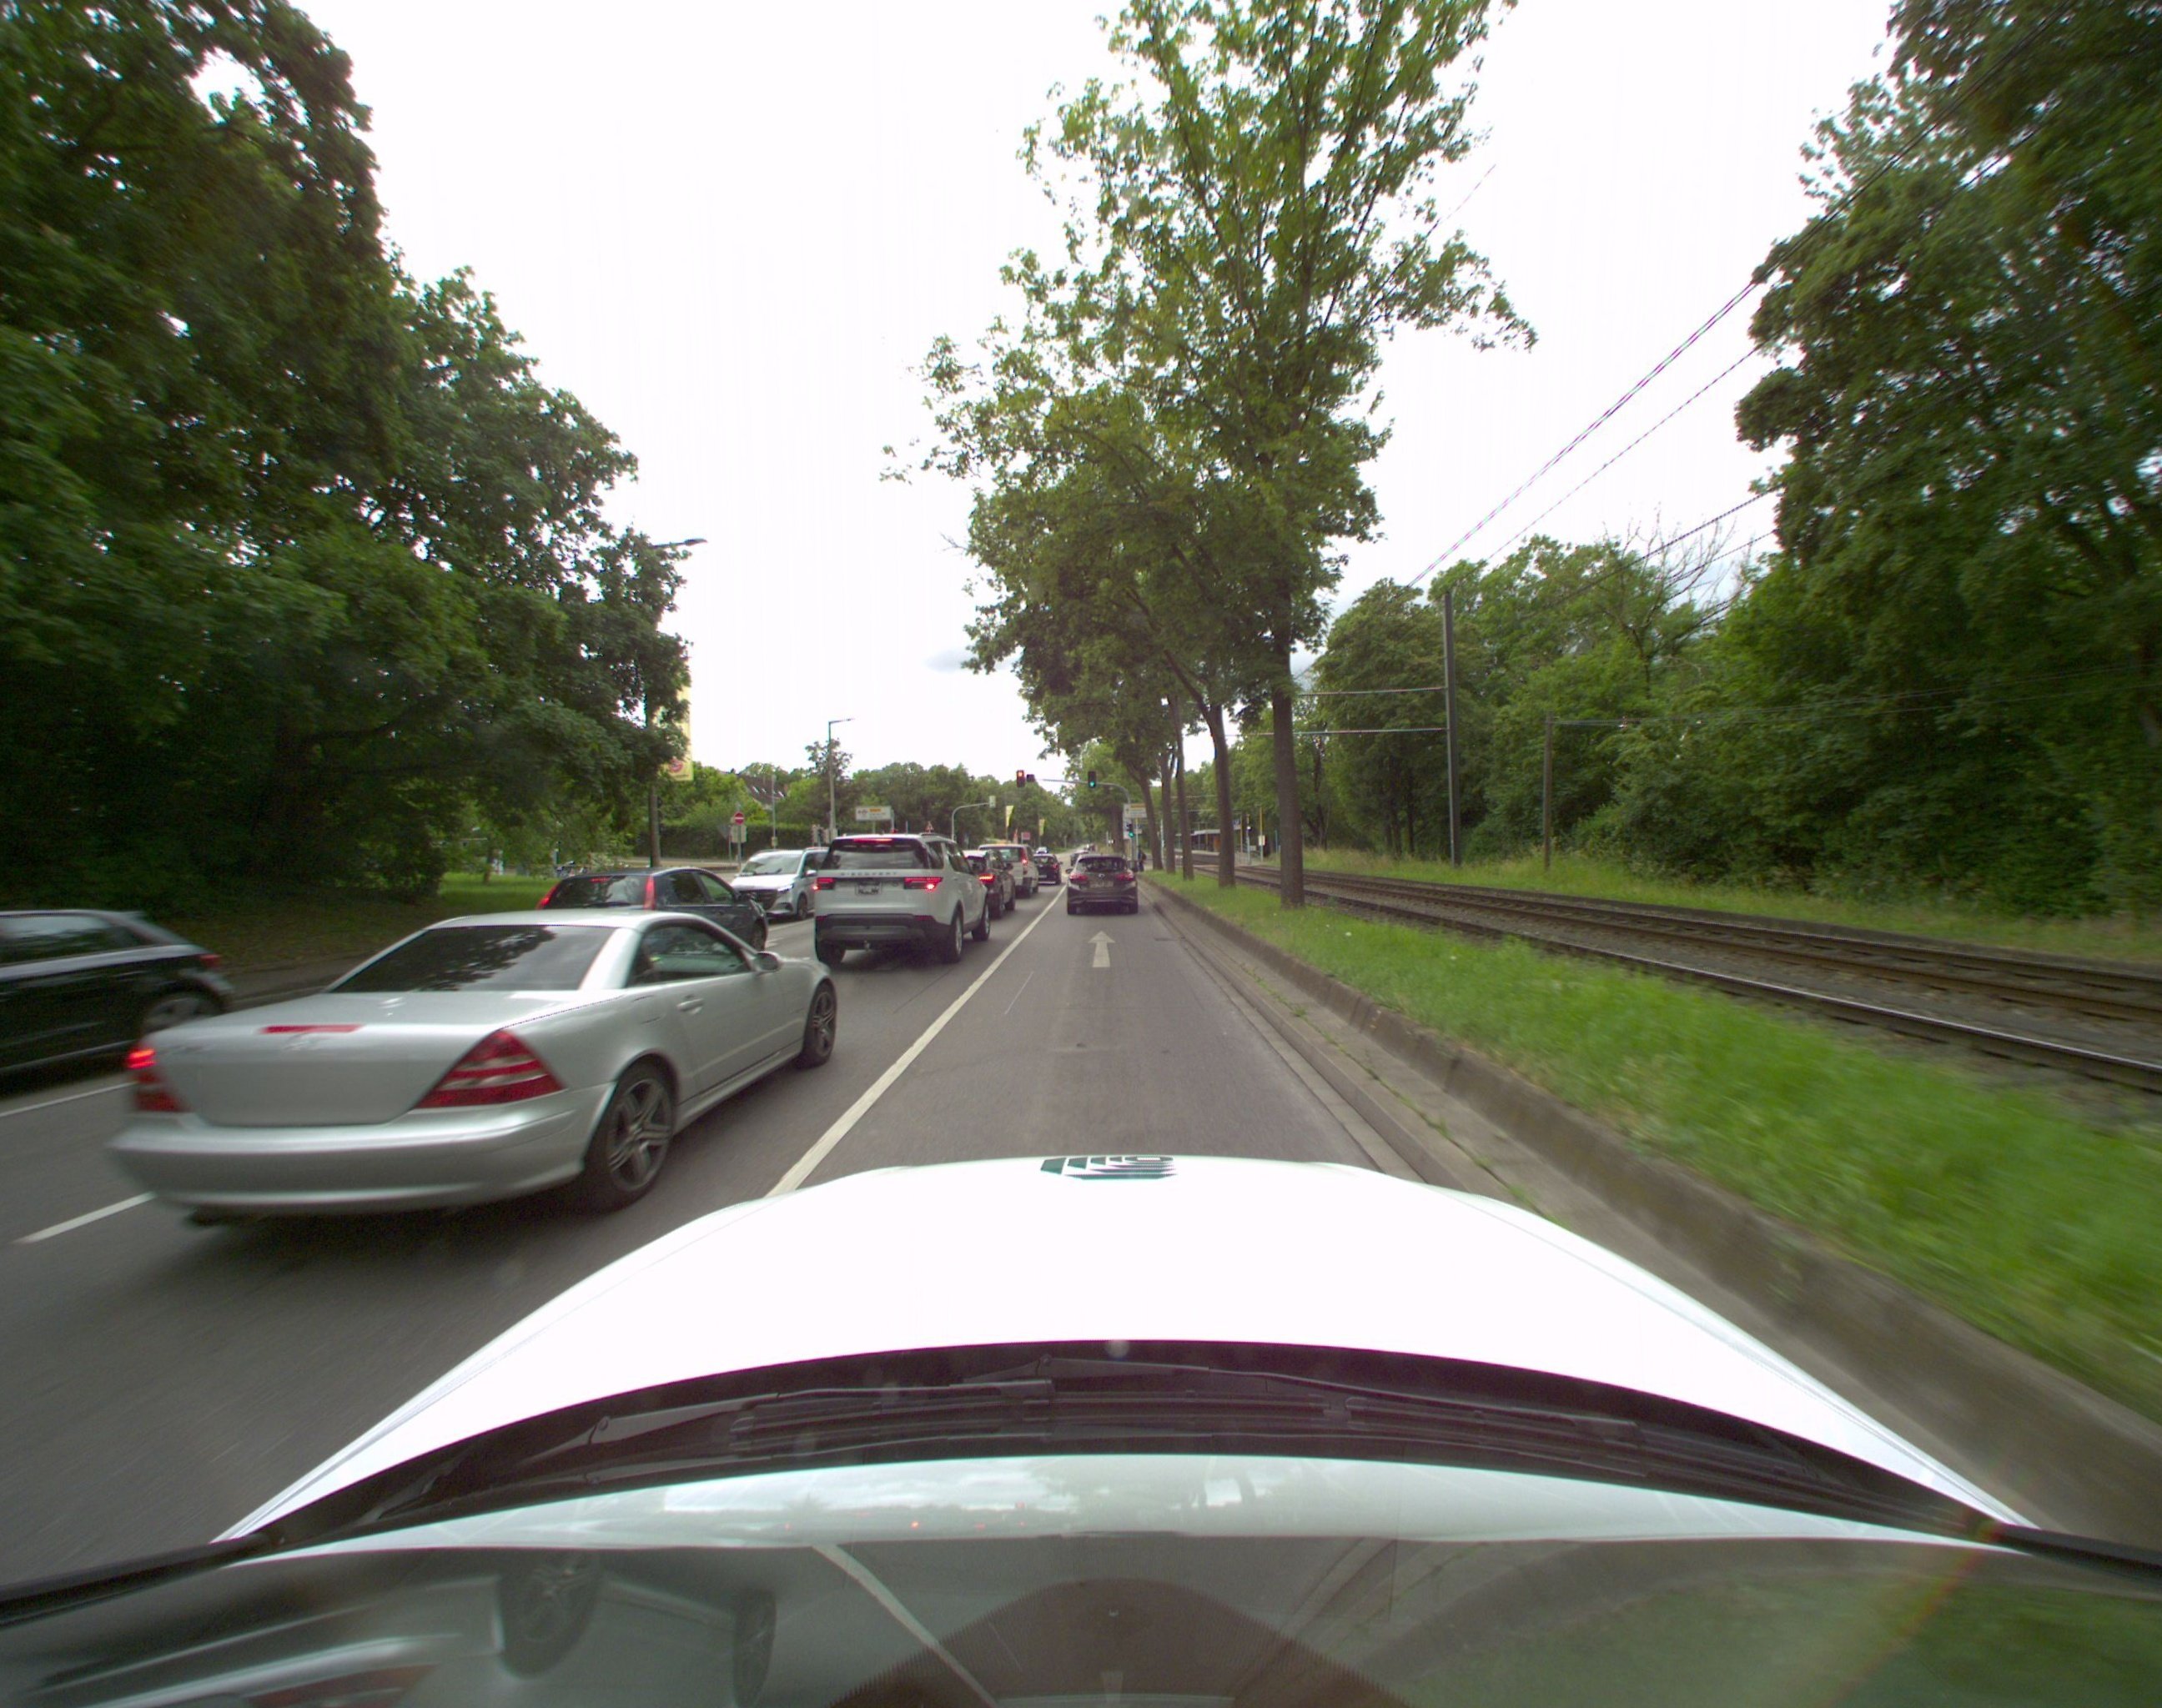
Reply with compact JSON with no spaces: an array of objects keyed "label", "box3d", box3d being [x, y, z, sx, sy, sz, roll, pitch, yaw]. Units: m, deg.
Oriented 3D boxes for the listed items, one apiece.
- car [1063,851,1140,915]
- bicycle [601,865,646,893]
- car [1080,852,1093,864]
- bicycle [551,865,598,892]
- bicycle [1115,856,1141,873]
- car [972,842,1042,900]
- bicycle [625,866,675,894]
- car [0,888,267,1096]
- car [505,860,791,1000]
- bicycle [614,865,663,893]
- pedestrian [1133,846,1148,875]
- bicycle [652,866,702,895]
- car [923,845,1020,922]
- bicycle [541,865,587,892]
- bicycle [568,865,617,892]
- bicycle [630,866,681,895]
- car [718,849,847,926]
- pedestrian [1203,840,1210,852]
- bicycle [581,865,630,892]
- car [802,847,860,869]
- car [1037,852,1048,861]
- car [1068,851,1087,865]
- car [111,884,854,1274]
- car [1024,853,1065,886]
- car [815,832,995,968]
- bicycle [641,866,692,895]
[{"label":"car","box3d":[0.597,0.699,21.483,1.830,1.528,3.932,-1,0,3]},{"label":"bicycle","box3d":[-21.381,1.159,38.109,0.539,1.252,1.944,0,-1,18]},{"label":"car","box3d":[0.676,0.542,103.579,1.497,1.528,3.674,0,0,3]},{"label":"bicycle","box3d":[-24.460,1.159,39.339,0.539,1.252,1.946,0,-1,24]},{"label":"bicycle","box3d":[3.367,0.717,58.417,1.670,1.090,0.601,-4,0,-3]},{"label":"car","box3d":[-2.564,0.559,29.482,1.900,1.843,5.283,-1,0,1]},{"label":"bicycle","box3d":[-19.692,1.158,37.247,0.539,1.252,1.947,0,-1,38]},{"label":"car","box3d":[-8.509,1.082,5.710,1.624,1.395,3.833,-4,0,1]},{"label":"car","box3d":[-5.604,0.877,11.174,1.585,1.468,3.932,-3,0,3]},{"label":"bicycle","box3d":[-20.483,1.159,37.711,0.539,1.252,1.947,0,-1,38]},{"label":"pedestrian","box3d":[3.626,0.394,49.635,0.748,1.737,0.841,-4,-1,6]},{"label":"bicycle","box3d":[-17.804,1.154,35.941,0.539,1.252,1.947,0,-1,38]},{"label":"car","box3d":[-2.680,0.690,20.818,1.745,1.718,4.335,-2,-1,1]},{"label":"bicycle","box3d":[-25.116,1.159,39.607,0.539,1.252,1.944,0,-1,18]},{"label":"bicycle","box3d":[-23.387,1.159,38.990,0.539,1.252,1.947,0,-1,34]},{"label":"bicycle","box3d":[-19.090,1.155,36.575,0.539,1.252,1.947,0,-1,38]},{"label":"car","box3d":[-8.050,0.830,22.430,1.785,1.831,4.409,-3,0,1]},{"label":"pedestrian","box3d":[15.557,-1.006,100.884,0.715,1.511,0.724,0,-1,4]},{"label":"bicycle","box3d":[-22.525,1.159,38.624,0.539,1.252,1.947,0,-1,34]},{"label":"car","box3d":[-21.533,0.363,70.227,4.417,1.811,1.949,-1,0,-2]},{"label":"car","box3d":[-7.237,0.473,153.877,1.896,1.678,5.078,-1,0,-1]},{"label":"car","box3d":[-0.345,0.450,86.364,1.703,1.475,3.674,0,0,3]},{"label":"car","box3d":[-2.732,0.897,4.896,1.549,1.267,3.823,-1,0,1]},{"label":"car","box3d":[-1.742,0.734,39.536,1.697,1.480,3.668,-1,0,1]},{"label":"car","box3d":[-2.588,0.630,13.108,1.796,1.795,4.504,0,0,2]},{"label":"bicycle","box3d":[-18.432,1.154,36.244,0.539,1.252,1.947,0,0,38]}]
